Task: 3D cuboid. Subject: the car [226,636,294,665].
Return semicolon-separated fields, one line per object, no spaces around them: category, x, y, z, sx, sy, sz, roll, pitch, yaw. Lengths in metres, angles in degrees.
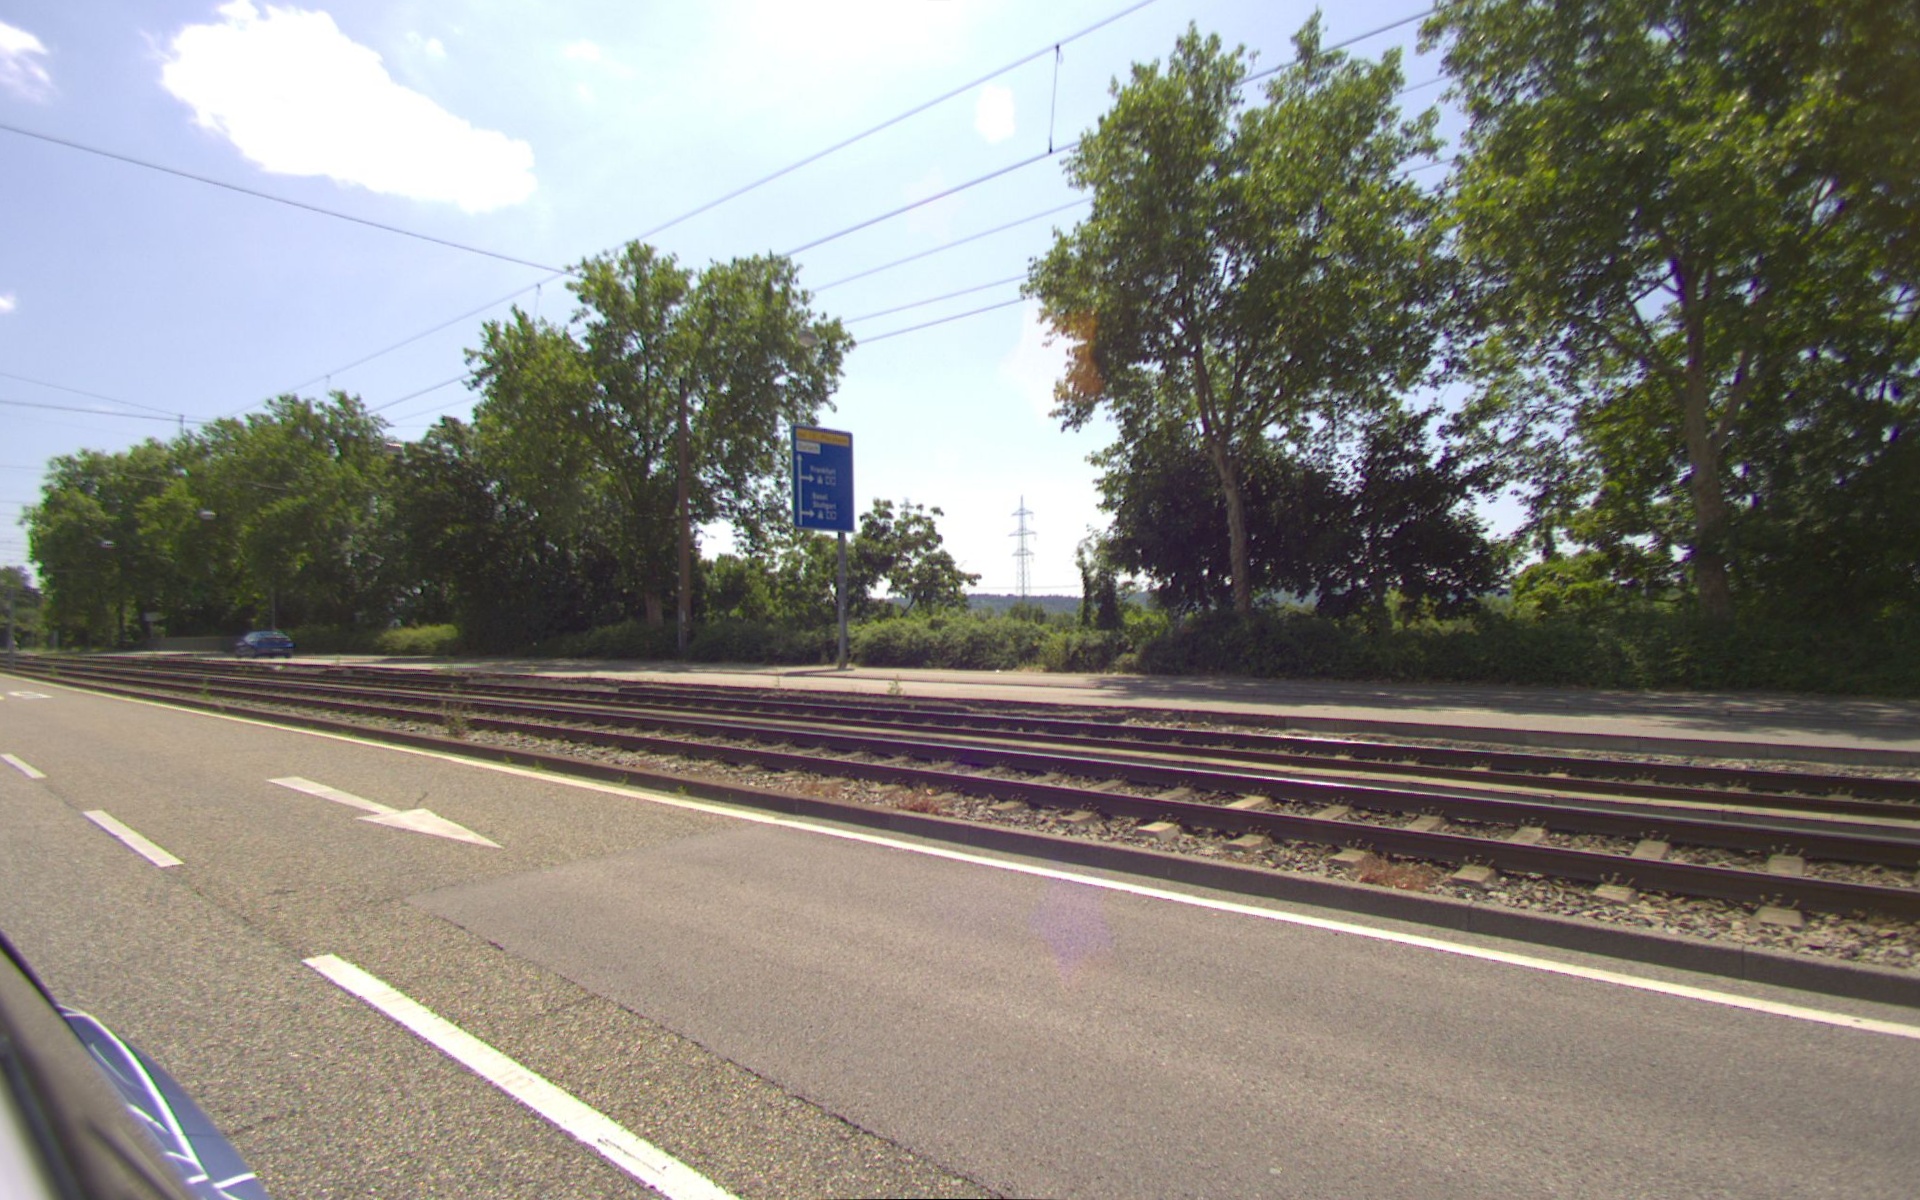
car;-38.003;2.755;54.896;4.731;1.515;1.780;-2;-4;40
